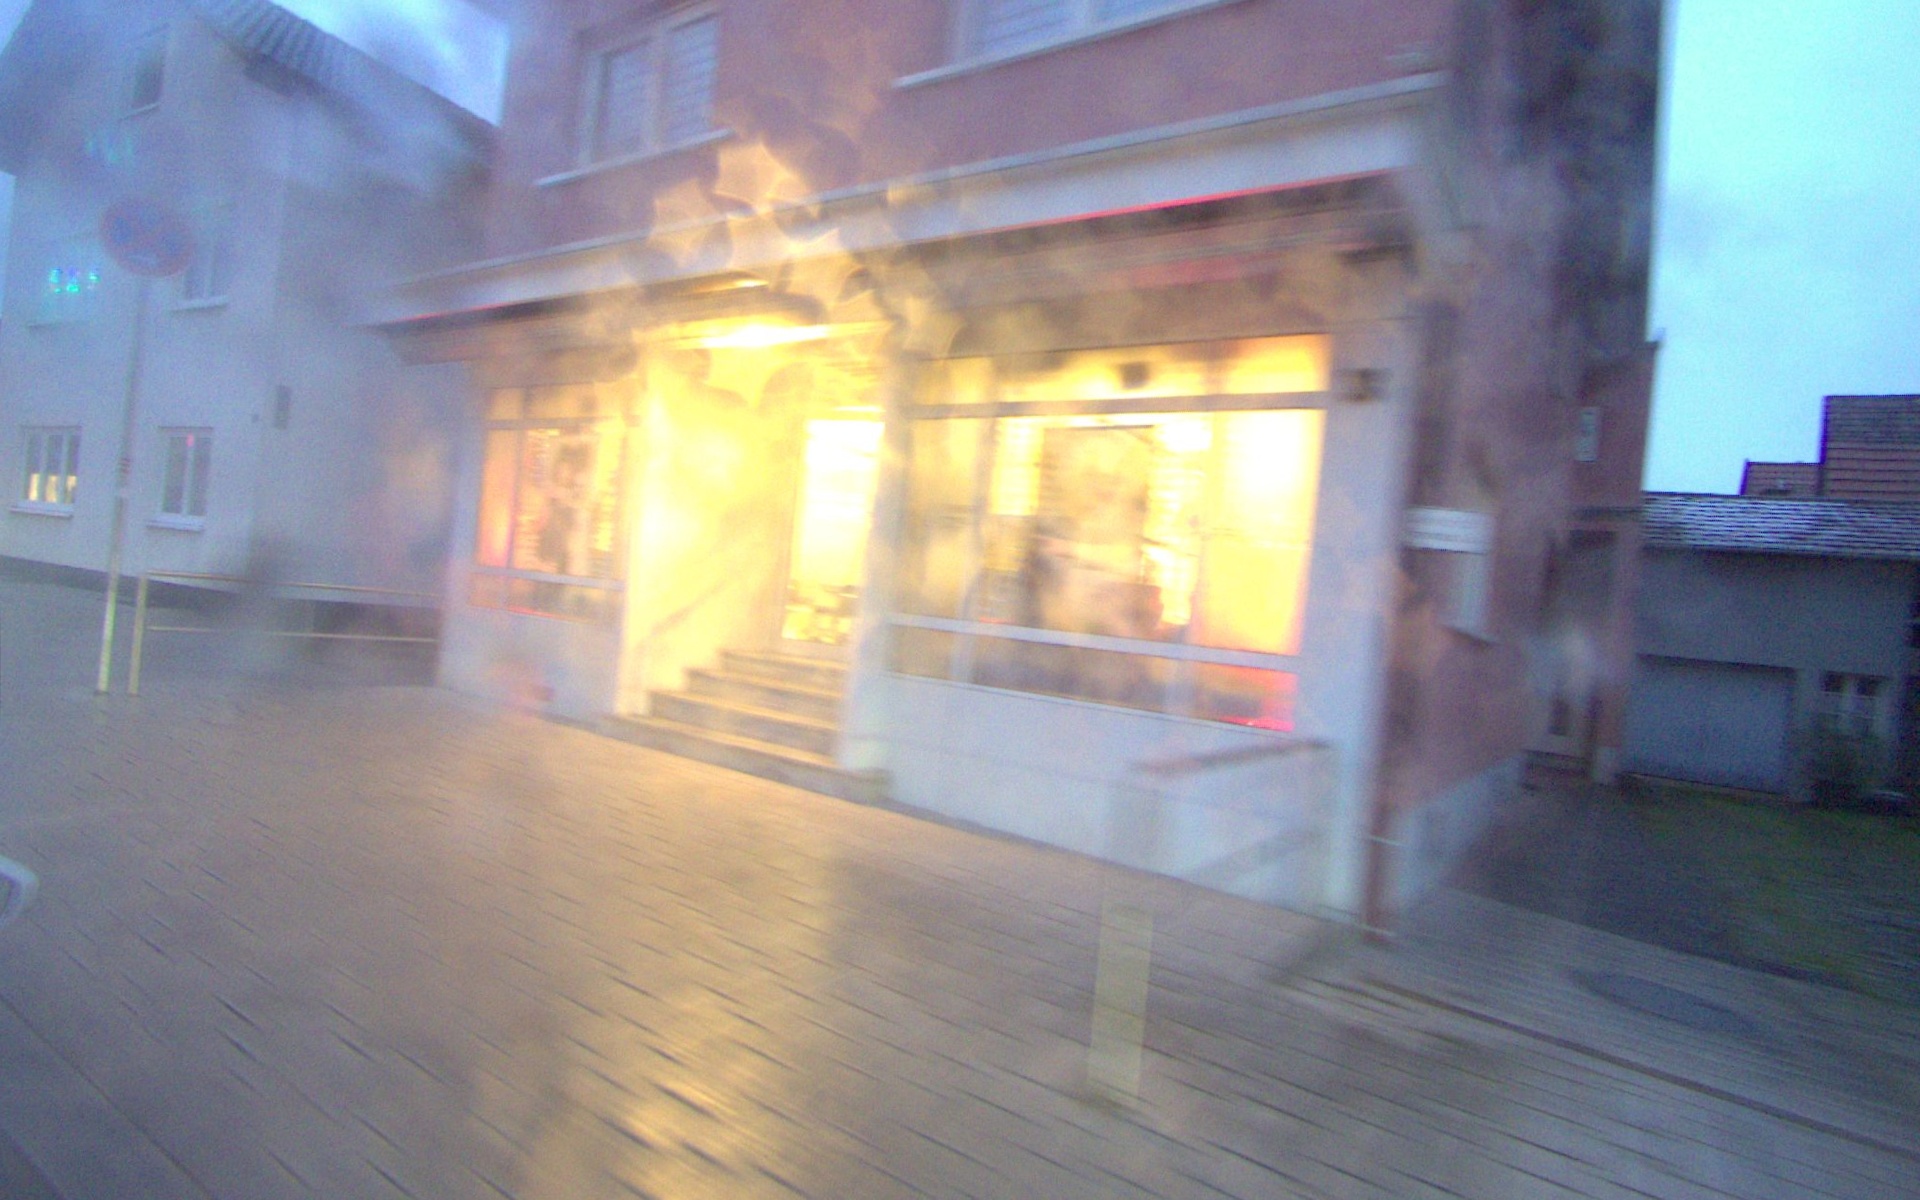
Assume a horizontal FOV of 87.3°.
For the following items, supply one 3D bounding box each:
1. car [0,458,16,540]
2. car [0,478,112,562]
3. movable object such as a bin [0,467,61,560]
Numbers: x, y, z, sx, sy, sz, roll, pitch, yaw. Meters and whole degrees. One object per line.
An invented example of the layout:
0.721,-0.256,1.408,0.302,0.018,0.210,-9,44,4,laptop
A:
-26.651,-2.814,25.275,1.972,2.076,4.082,7,1,42,car
-20.273,-1.785,20.659,1.883,1.504,3.986,6,-1,36,car
-18.248,-1.692,19.188,1.165,1.666,1.286,7,3,31,movable object such as a bin
